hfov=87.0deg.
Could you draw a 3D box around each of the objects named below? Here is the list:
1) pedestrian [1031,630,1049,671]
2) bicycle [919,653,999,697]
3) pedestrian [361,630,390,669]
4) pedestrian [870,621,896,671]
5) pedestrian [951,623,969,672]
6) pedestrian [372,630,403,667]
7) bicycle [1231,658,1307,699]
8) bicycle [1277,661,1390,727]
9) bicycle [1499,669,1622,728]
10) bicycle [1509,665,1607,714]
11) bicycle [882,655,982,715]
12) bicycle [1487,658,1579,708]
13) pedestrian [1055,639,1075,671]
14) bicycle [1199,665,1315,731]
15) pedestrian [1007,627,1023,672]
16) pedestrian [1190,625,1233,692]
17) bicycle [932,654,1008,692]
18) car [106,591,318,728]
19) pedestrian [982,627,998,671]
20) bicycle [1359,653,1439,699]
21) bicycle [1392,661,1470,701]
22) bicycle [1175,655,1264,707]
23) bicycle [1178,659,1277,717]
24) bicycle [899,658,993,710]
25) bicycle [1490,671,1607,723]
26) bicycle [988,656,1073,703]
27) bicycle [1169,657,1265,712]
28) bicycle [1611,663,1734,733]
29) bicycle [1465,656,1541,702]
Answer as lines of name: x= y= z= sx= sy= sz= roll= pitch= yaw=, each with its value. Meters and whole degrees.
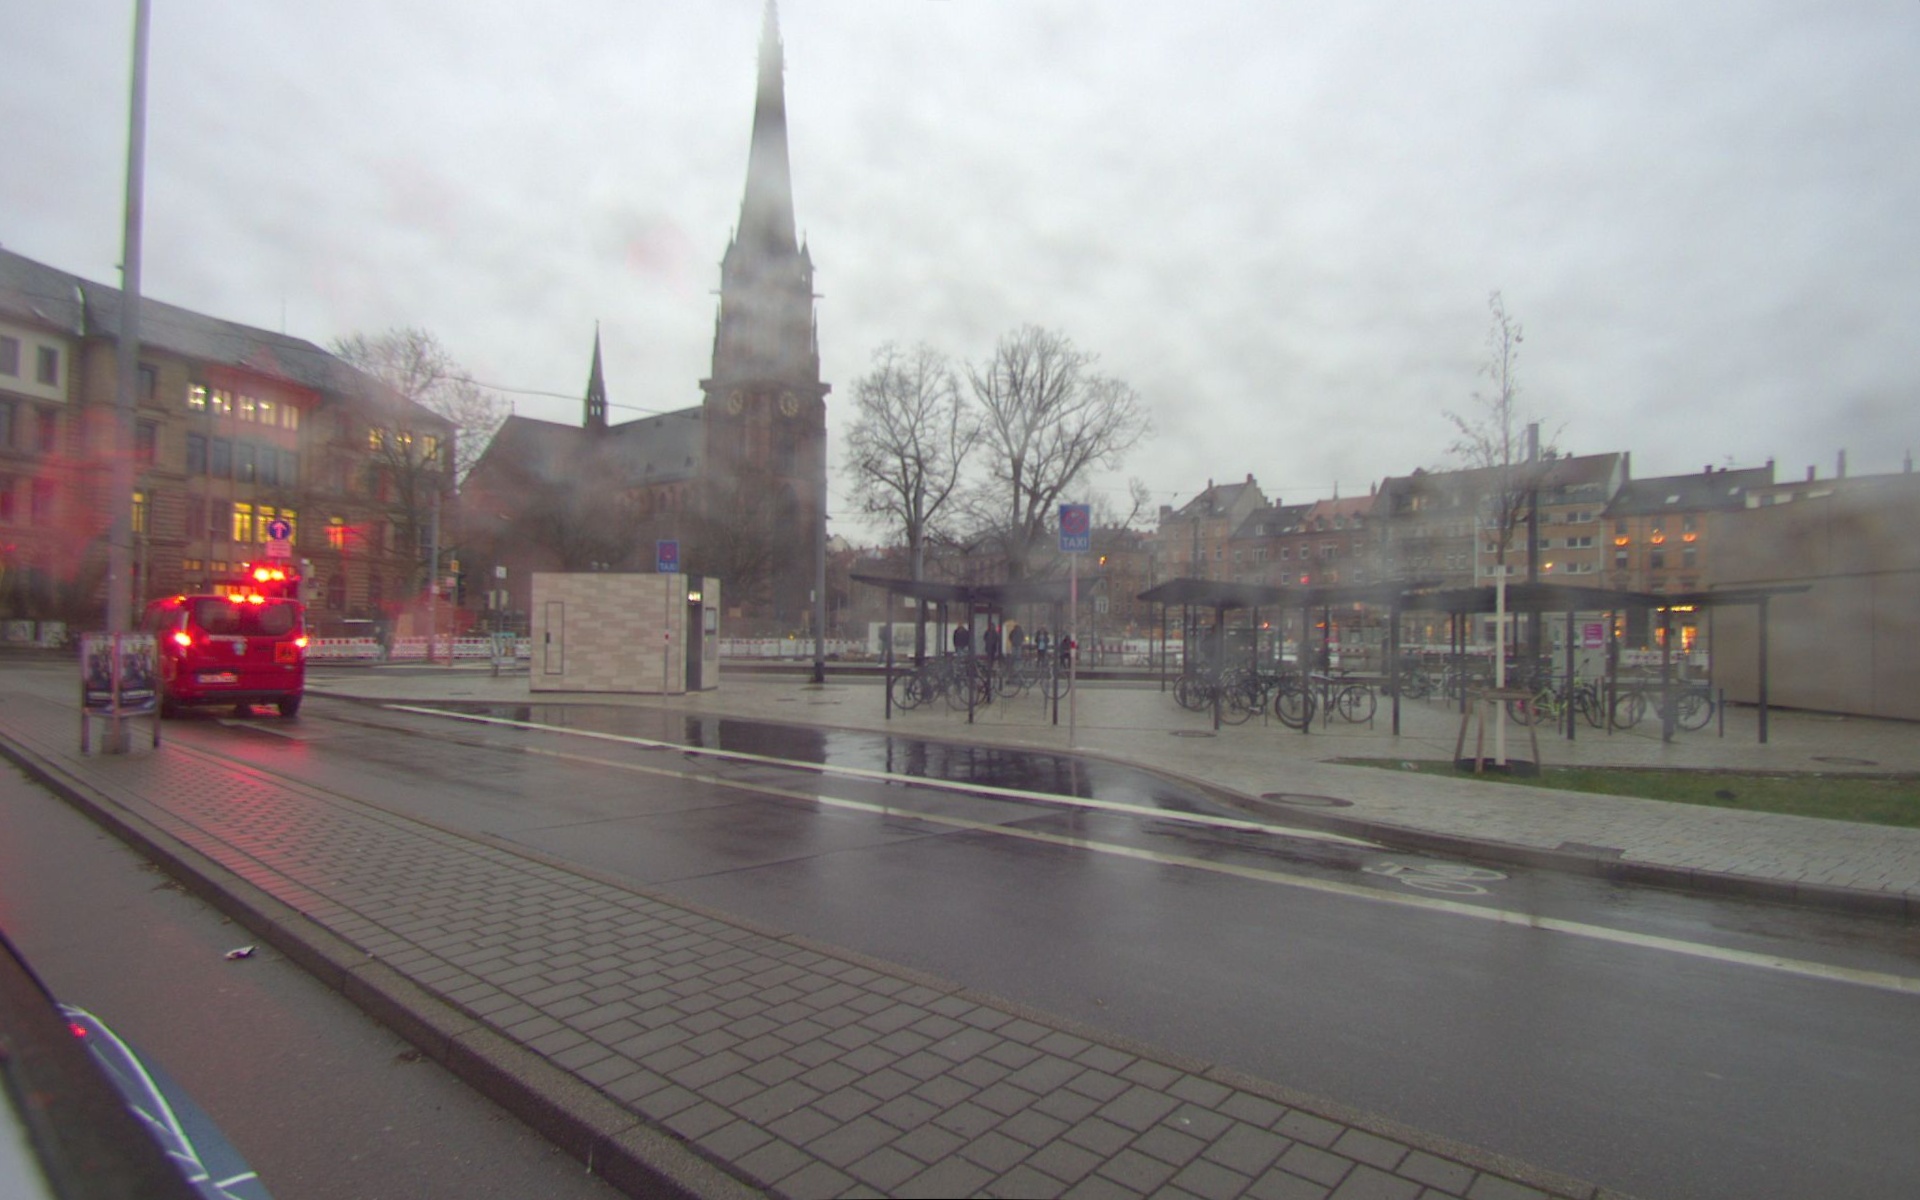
pedestrian: x=3.025 y=1.916 z=38.336 sx=0.580 sy=1.513 sz=0.675 roll=-1 pitch=0 yaw=-1
bicycle: x=-0.022 y=1.833 z=24.873 sx=1.905 sy=0.993 sz=0.473 roll=1 pitch=-1 yaw=11
pedestrian: x=-28.656 y=2.429 z=49.662 sx=0.960 sy=1.915 sz=0.674 roll=1 pitch=-2 yaw=-1
pedestrian: x=-2.880 y=1.712 z=37.873 sx=0.818 sy=1.808 sz=0.668 roll=-1 pitch=0 yaw=10
pedestrian: x=-0.005 y=1.807 z=38.582 sx=0.619 sy=1.808 sz=0.672 roll=-1 pitch=0 yaw=-1
pedestrian: x=-26.732 y=2.257 z=47.269 sx=1.203 sy=1.673 sz=0.766 roll=-1 pitch=0 yaw=29
bicycle: x=7.654 y=1.947 z=25.075 sx=1.729 sy=0.946 sz=0.474 roll=1 pitch=-1 yaw=7
bicycle: x=6.938 y=1.740 z=18.871 sx=1.905 sy=1.129 sz=0.473 roll=1 pitch=-1 yaw=11
bicycle: x=11.119 y=1.819 z=18.789 sx=1.905 sy=0.983 sz=0.473 roll=1 pitch=-1 yaw=11
bicycle: x=12.893 y=1.925 z=21.836 sx=1.751 sy=0.963 sz=0.473 roll=1 pitch=-1 yaw=11
bicycle: x=-0.546 y=1.657 z=19.871 sx=1.905 sy=1.078 sz=0.473 roll=1 pitch=-1 yaw=11
bicycle: x=13.245 y=1.914 z=23.422 sx=1.810 sy=1.081 sz=0.474 roll=1 pitch=-1 yaw=8
pedestrian: x=3.972 y=2.077 z=38.328 sx=0.610 sy=1.165 sz=0.806 roll=-1 pitch=0 yaw=-1
bicycle: x=5.249 y=1.724 z=17.961 sx=1.905 sy=1.078 sz=0.473 roll=1 pitch=-1 yaw=11
pedestrian: x=2.059 y=1.861 z=38.118 sx=0.543 sy=1.648 sz=0.571 roll=-1 pitch=0 yaw=-1
pedestrian: x=6.872 y=1.597 z=27.711 sx=1.056 sy=1.778 sz=1.008 roll=0 pitch=-3 yaw=10
bicycle: x=0.263 y=1.872 z=26.130 sx=1.905 sy=0.917 sz=0.473 roll=1 pitch=-1 yaw=11
car: x=-13.178 y=0.996 z=17.735 sx=4.640 sy=2.086 sz=1.904 roll=-1 pitch=-4 yaw=40
pedestrian: x=1.140 y=1.864 z=38.656 sx=0.556 sy=1.664 sz=0.540 roll=-1 pitch=0 yaw=-1
bicycle: x=11.176 y=1.930 z=25.807 sx=1.780 sy=1.116 sz=0.473 roll=1 pitch=-1 yaw=11
bicycle: x=11.613 y=1.997 z=24.996 sx=1.672 sy=0.898 sz=0.474 roll=1 pitch=-1 yaw=5
bicycle: x=5.842 y=1.813 z=22.854 sx=1.905 sy=1.078 sz=0.473 roll=1 pitch=-1 yaw=11
bicycle: x=5.437 y=1.779 z=20.622 sx=1.905 sy=1.078 sz=0.473 roll=1 pitch=-1 yaw=11
bicycle: x=-0.295 y=1.738 z=21.108 sx=1.905 sy=0.993 sz=0.473 roll=1 pitch=-1 yaw=11
bicycle: x=11.360 y=1.867 z=19.576 sx=1.905 sy=0.898 sz=0.473 roll=1 pitch=-1 yaw=11
bicycle: x=1.632 y=1.826 z=23.427 sx=1.905 sy=0.993 sz=0.473 roll=1 pitch=-1 yaw=11
bicycle: x=5.423 y=1.778 z=21.405 sx=1.899 sy=1.078 sz=0.474 roll=1 pitch=-1 yaw=2
bicycle: x=12.682 y=1.730 z=18.051 sx=1.731 sy=1.165 sz=0.617 roll=1 pitch=-1 yaw=1
bicycle: x=13.225 y=1.922 z=24.669 sx=1.551 sy=1.044 sz=0.521 roll=1 pitch=-1 yaw=1
